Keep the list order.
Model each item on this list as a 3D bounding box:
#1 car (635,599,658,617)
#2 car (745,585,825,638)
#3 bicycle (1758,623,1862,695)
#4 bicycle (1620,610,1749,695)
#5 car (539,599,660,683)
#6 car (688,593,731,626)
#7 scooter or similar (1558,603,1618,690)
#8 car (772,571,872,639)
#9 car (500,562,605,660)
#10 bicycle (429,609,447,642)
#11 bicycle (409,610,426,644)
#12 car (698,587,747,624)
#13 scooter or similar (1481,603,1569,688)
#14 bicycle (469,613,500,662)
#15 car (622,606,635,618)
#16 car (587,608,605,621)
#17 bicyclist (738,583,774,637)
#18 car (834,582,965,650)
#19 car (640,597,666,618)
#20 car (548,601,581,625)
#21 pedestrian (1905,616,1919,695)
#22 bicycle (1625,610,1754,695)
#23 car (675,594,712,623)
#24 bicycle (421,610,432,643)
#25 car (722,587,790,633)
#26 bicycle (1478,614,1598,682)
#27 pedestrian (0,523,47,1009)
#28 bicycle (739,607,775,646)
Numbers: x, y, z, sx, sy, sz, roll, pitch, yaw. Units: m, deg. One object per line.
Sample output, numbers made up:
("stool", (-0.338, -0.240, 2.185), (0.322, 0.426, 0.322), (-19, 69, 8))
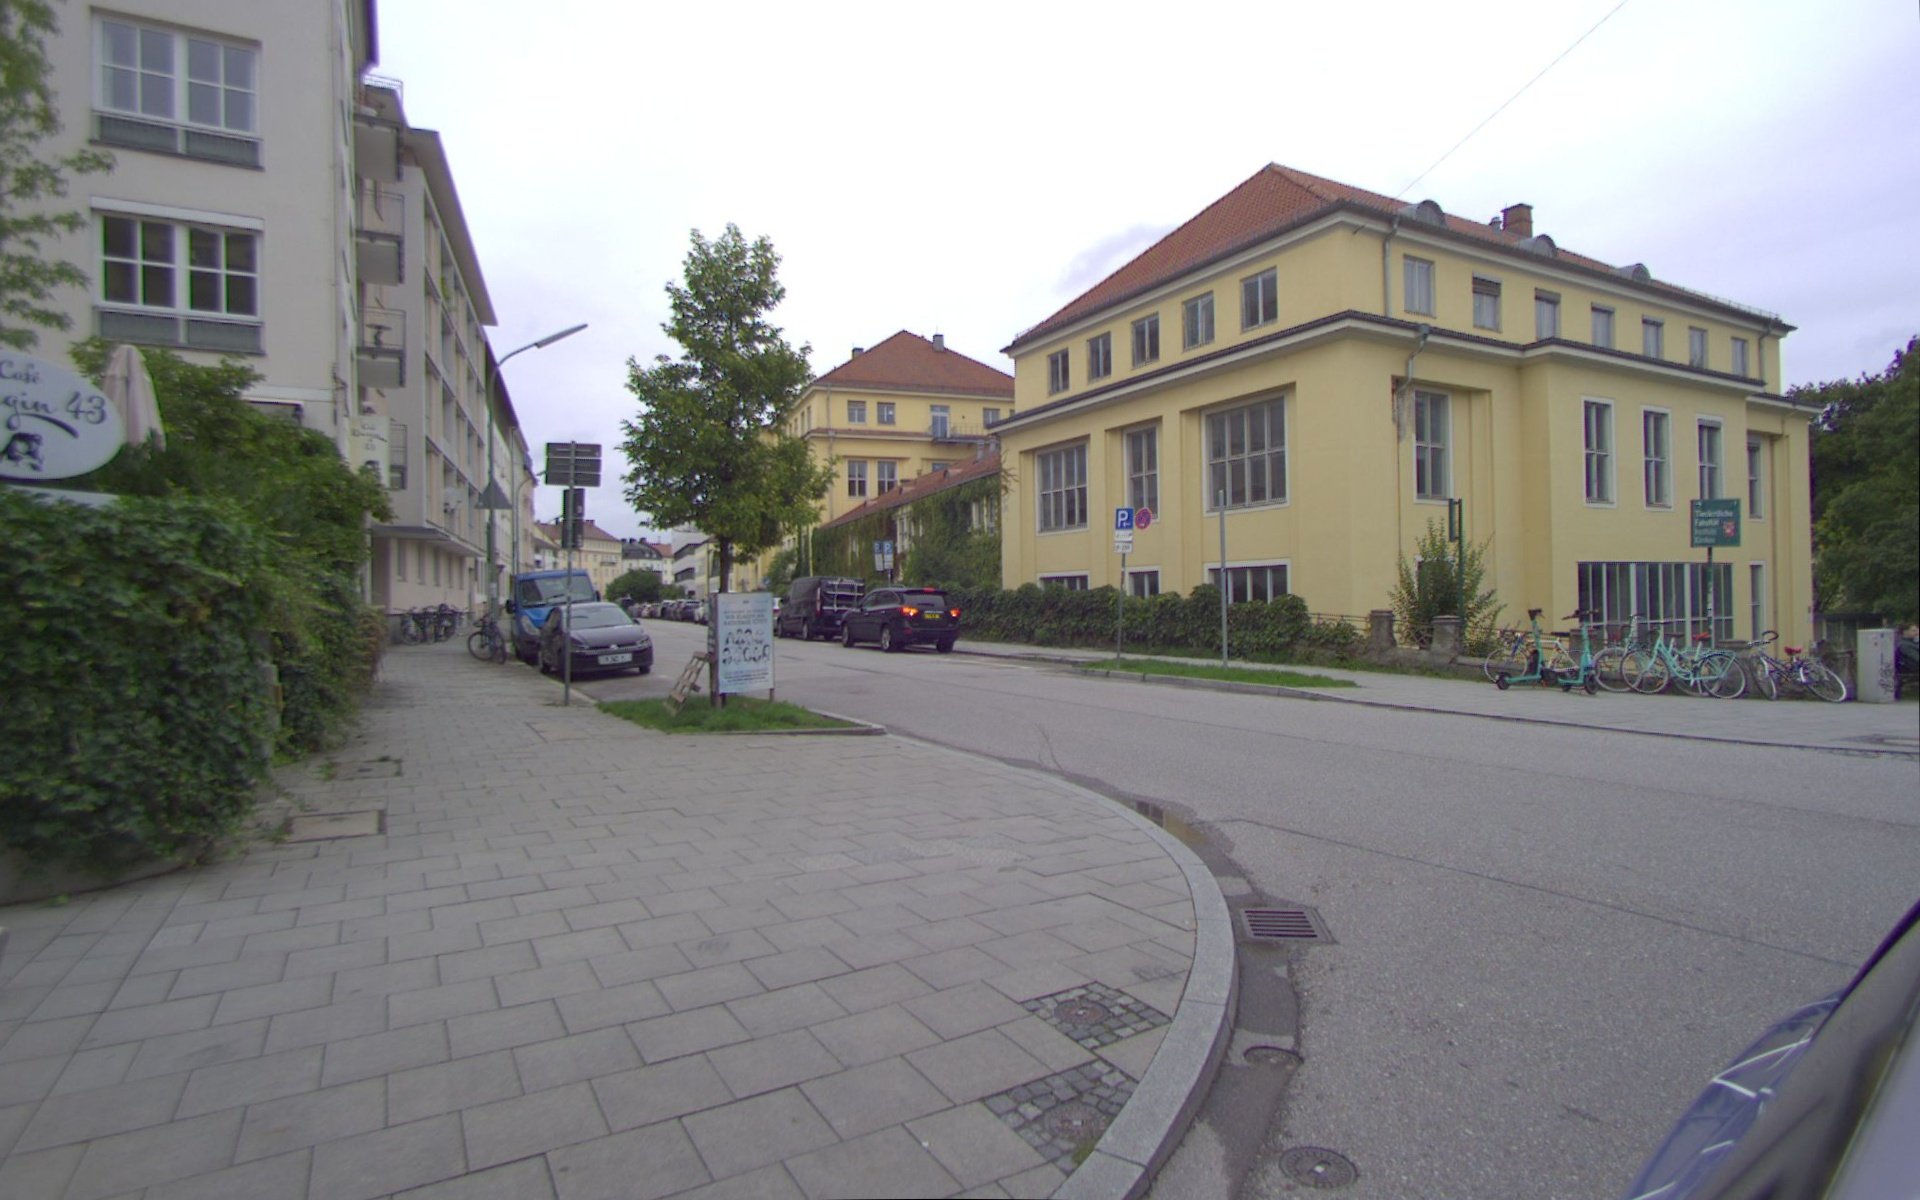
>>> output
("car", (-33.597, 0.842, 108.462), (1.935, 1.859, 4.690), (1, -1, -22))
("car", (-6.689, 0.425, 38.297), (1.935, 1.859, 4.690), (1, -1, -23))
("bicycle", (13.026, 0.912, 15.507), (1.619, 1.051, 0.308), (2, 0, -14))
("bicycle", (11.109, 0.795, 15.551), (1.629, 1.206, 0.202), (2, 0, 13))
("car", (-7.478, 0.761, 20.774), (1.745, 1.413, 3.809), (-5, 2, -27))
("car", (-14.607, 0.554, 58.888), (1.935, 1.859, 4.691), (1, -1, -20))
("scooter or similar", (9.242, 0.667, 14.926), (0.318, 1.228, 1.115), (1, -1, 8))
("car", (-4.673, 0.182, 33.684), (1.936, 2.098, 4.689), (1, -1, -26))
("car", (-10.660, 0.209, 26.294), (1.945, 2.195, 4.721), (-5, 3, -27))
("bicycle", (-17.497, 0.839, 33.907), (0.454, 1.066, 1.843), (1, -1, -29))
("bicycle", (-17.717, 0.860, 33.048), (0.428, 1.066, 1.967), (1, -1, -29))
("car", (-12.533, 0.309, 53.238), (1.935, 1.859, 4.691), (1, -1, -20))
("scooter or similar", (8.718, 0.695, 15.603), (1.361, 1.264, 0.397), (1, -1, -20))
("bicycle", (-10.977, 0.850, 23.318), (0.477, 1.066, 2.185), (1, -1, -29))
("car", (-47.542, 1.732, 145.223), (1.734, 1.549, 4.008), (-2, 0, -18))
("car", (-40.516, 1.577, 112.577), (1.757, 1.358, 3.843), (-2, 0, -21))
("bicyclist", (-5.614, 0.279, 27.836), (0.825, 1.477, 0.745), (1, -1, -23))
("car", (-1.779, 0.423, 27.957), (1.897, 1.730, 4.632), (1, -1, -27))
("car", (-28.690, 0.693, 94.445), (1.935, 1.859, 4.690), (1, -1, -22))
("car", (-27.662, 0.916, 70.888), (1.854, 1.473, 4.749), (-5, 1, -19))
("pedestrian", (15.960, 0.892, 16.133), (0.628, 1.264, 1.215), (4, -5, -39))
("bicycle", (11.056, 0.786, 15.361), (1.629, 1.213, 0.169), (2, 0, 13))
("car", (-17.953, 0.584, 67.949), (1.935, 1.859, 4.691), (1, -1, -20))
("bicycle", (-17.767, 0.857, 33.702), (0.244, 1.066, 1.967), (1, -1, -29))
("car", (-8.857, 0.447, 43.663), (1.935, 1.859, 4.690), (1, -1, -23))
("bicycle", (9.312, 0.755, 16.358), (1.645, 1.006, 0.245), (2, 0, 38))
("pedestrian", (-3.722, 0.566, 3.364), (0.863, 1.643, 0.707), (-2, 0, -30))
("bicycle", (-5.591, 0.722, 27.778), (0.610, 1.030, 1.721), (1, -1, -23))
